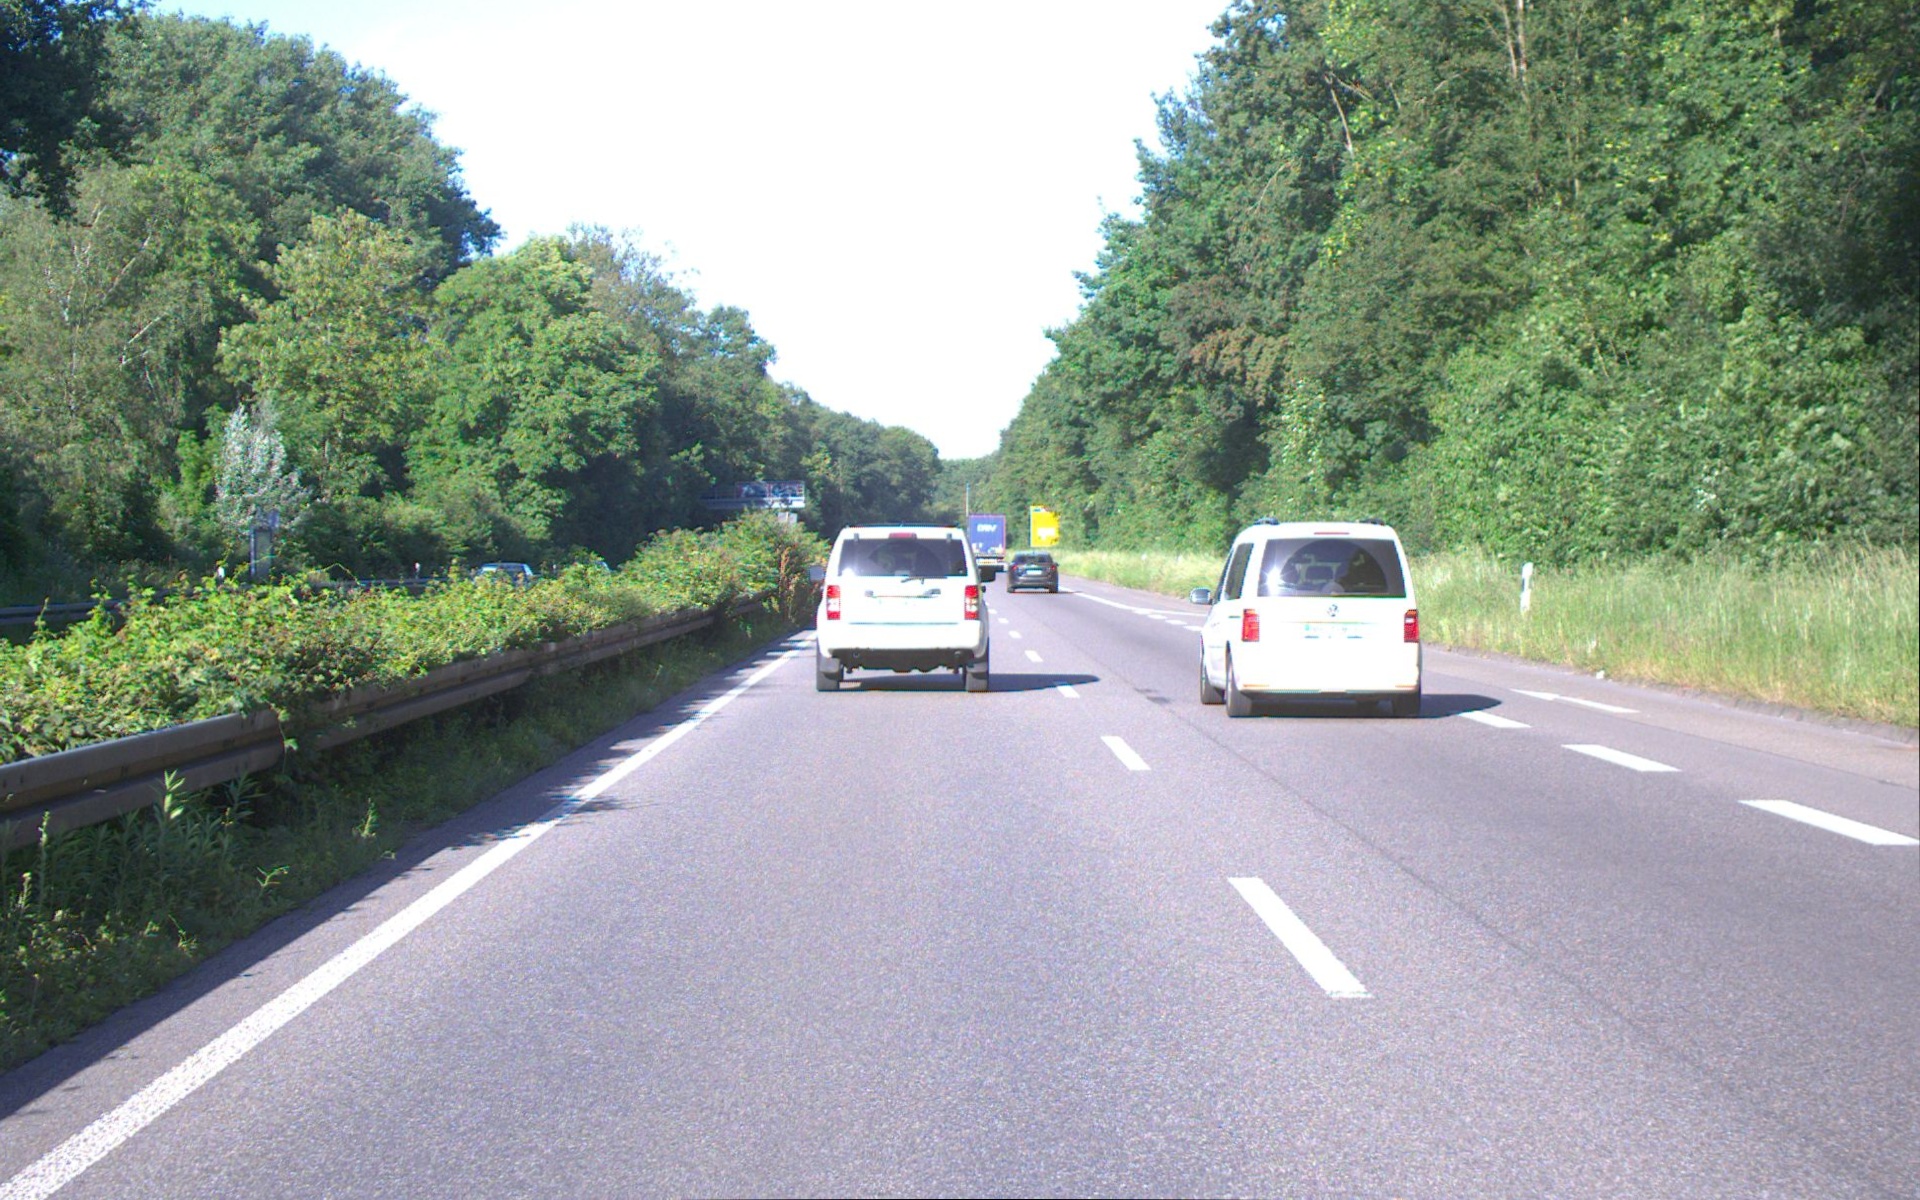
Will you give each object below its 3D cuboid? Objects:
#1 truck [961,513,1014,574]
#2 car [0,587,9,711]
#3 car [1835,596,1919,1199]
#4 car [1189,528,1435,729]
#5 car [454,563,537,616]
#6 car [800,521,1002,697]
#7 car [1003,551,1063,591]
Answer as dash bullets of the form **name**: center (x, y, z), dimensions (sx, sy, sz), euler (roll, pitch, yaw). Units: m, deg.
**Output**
- **truck**: center (1.920, -3.970, 242.672), dimensions (3.496, 4.158, 8.862), euler (-1, 1, 0)
- **car**: center (-12.078, 0.594, 38.146), dimensions (1.960, 1.445, 4.326), euler (0, 1, -2)
- **car**: center (3.043, 0.751, 5.848), dimensions (1.879, 1.456, 4.356), euler (0, 1, -2)
- **car**: center (3.261, 0.222, 32.630), dimensions (1.863, 1.764, 4.470), euler (0, 1, 0)
- **car**: center (-13.309, -0.323, 98.750), dimensions (1.960, 1.445, 4.507), euler (0, 1, -3)
- **car**: center (-0.689, 0.067, 37.545), dimensions (2.085, 1.822, 4.000), euler (0, 1, -2)
- **car**: center (2.621, -1.047, 123.935), dimensions (1.993, 1.393, 4.000), euler (1, 1, -1)
